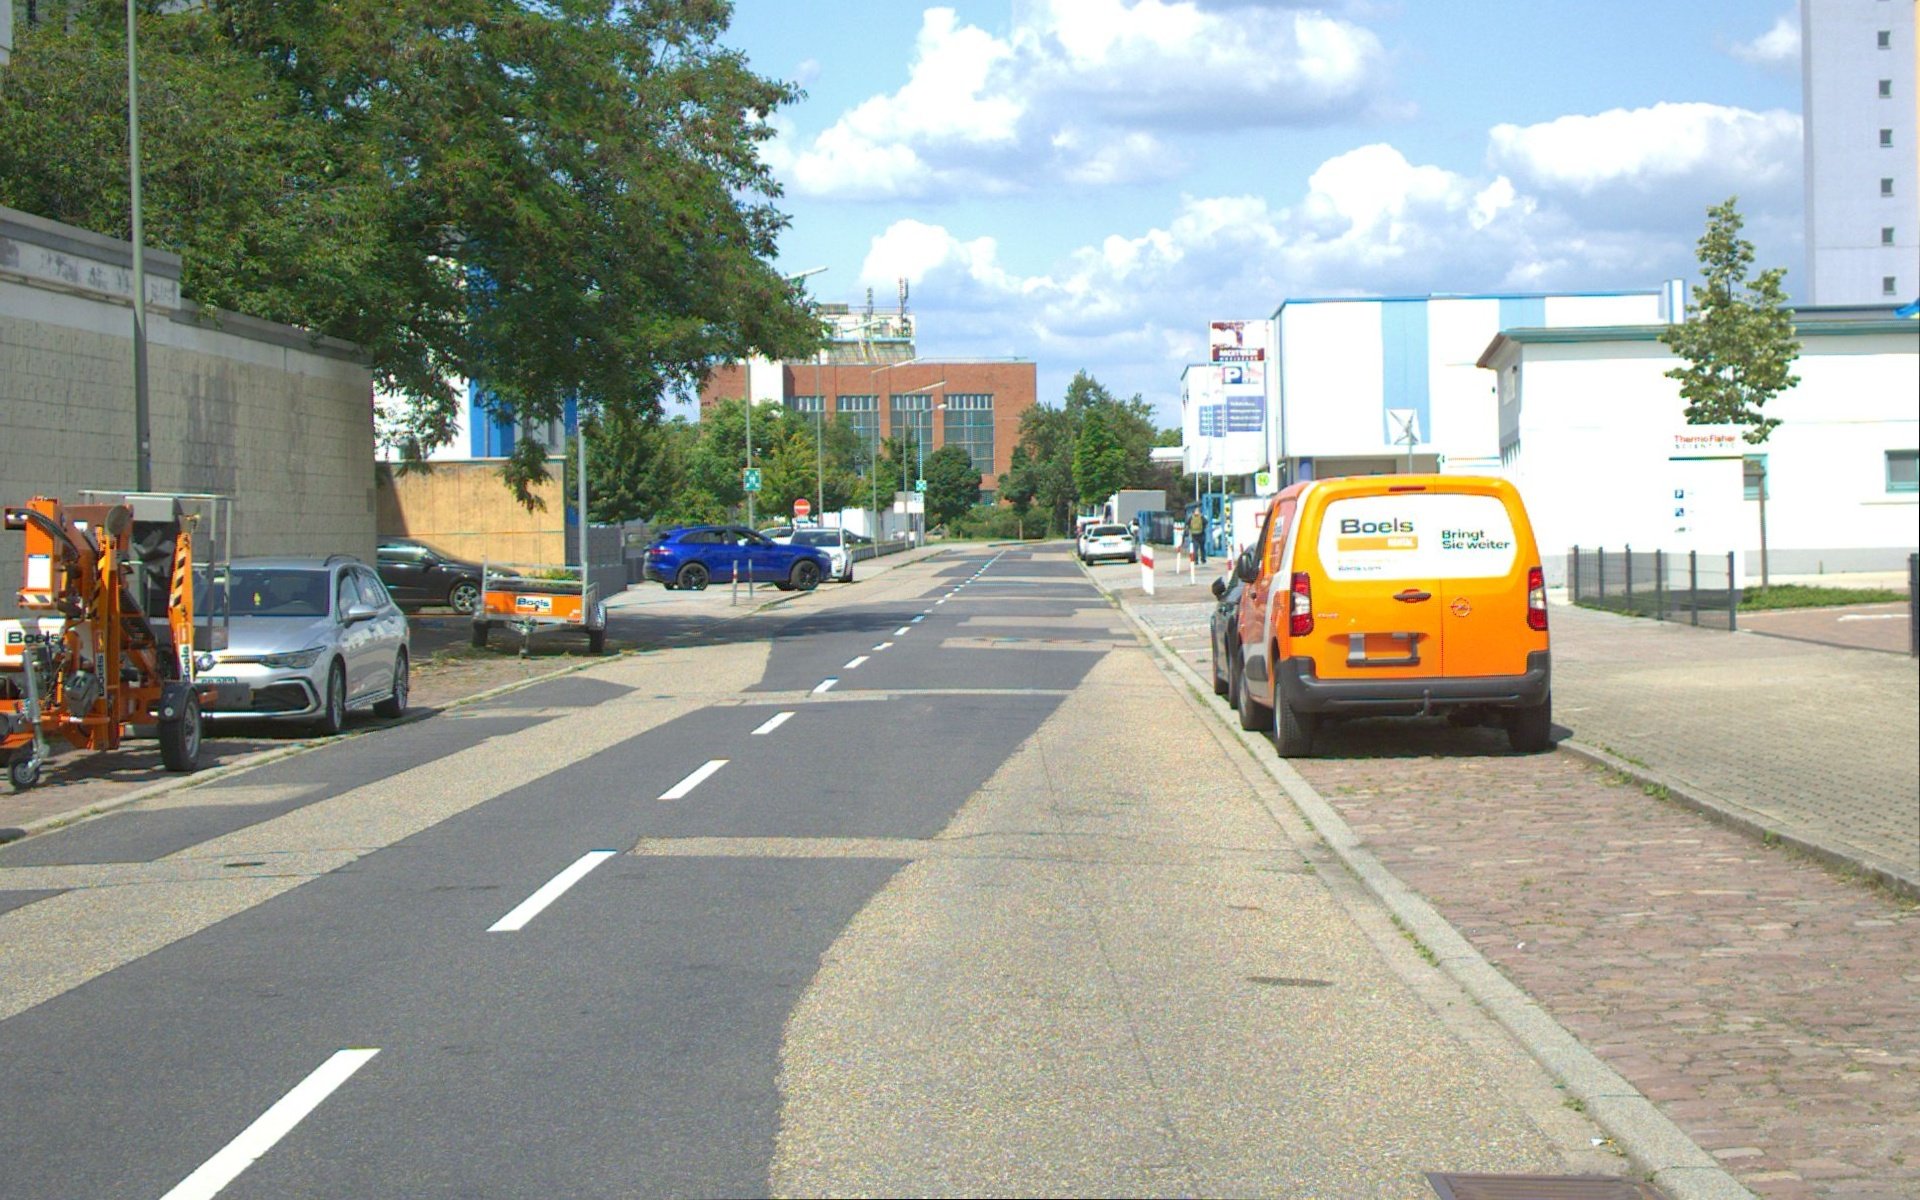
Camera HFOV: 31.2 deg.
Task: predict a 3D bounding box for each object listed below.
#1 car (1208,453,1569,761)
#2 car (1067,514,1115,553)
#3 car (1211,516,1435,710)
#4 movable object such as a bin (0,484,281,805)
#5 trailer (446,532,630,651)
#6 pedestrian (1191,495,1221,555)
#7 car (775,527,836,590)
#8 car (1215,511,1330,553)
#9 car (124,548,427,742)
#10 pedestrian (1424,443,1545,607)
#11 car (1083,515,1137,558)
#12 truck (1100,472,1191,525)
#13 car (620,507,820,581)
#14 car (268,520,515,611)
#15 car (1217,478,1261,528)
[{"bbox_3d":[2.897,-0.015,24.169,1.872,1.885,4.453,3,2,0],"label":"car"},{"bbox_3d":[5.301,-2.734,139.782,1.835,1.515,4.461,-1,2,1],"label":"car"},{"bbox_3d":[3.139,0.056,30.395,1.659,1.552,4.178,1,2,2],"label":"car"},{"bbox_3d":[-6.057,0.186,23.723,1.614,1.912,5.139,2,2,1],"label":"movable object such as a bin"},{"bbox_3d":[-5.523,-0.151,45.425,1.767,1.434,4.336,1,2,1],"label":"trailer"},{"bbox_3d":[7.454,-2.276,104.142,0.769,1.750,0.787,-4,1,1],"label":"pedestrian"},{"bbox_3d":[-4.338,-1.179,96.764,1.685,1.658,4.001,-1,2,-2],"label":"car"},{"bbox_3d":[12.056,-2.639,132.929,4.279,1.415,2.000,-2,2,2],"label":"car"},{"bbox_3d":[-5.663,0.315,28.961,1.673,1.450,4.514,0,2,0],"label":"car"},{"bbox_3d":[6.409,-0.921,42.051,0.989,1.945,1.092,-3,2,-21],"label":"pedestrian"},{"bbox_3d":[5.521,-2.351,127.181,1.867,1.515,4.598,-1,2,1],"label":"car"},{"bbox_3d":[13.396,-7.322,247.494,2.325,3.555,9.351,1,4,32],"label":"truck"},{"bbox_3d":[-6.012,-1.411,85.923,4.685,1.587,1.916,-3,2,-12],"label":"car"},{"bbox_3d":[-10.160,-0.633,61.602,3.994,1.357,1.794,4,2,5],"label":"car"},{"bbox_3d":[14.242,-4.953,175.772,1.924,2.455,5.260,-1,1,2],"label":"car"}]
